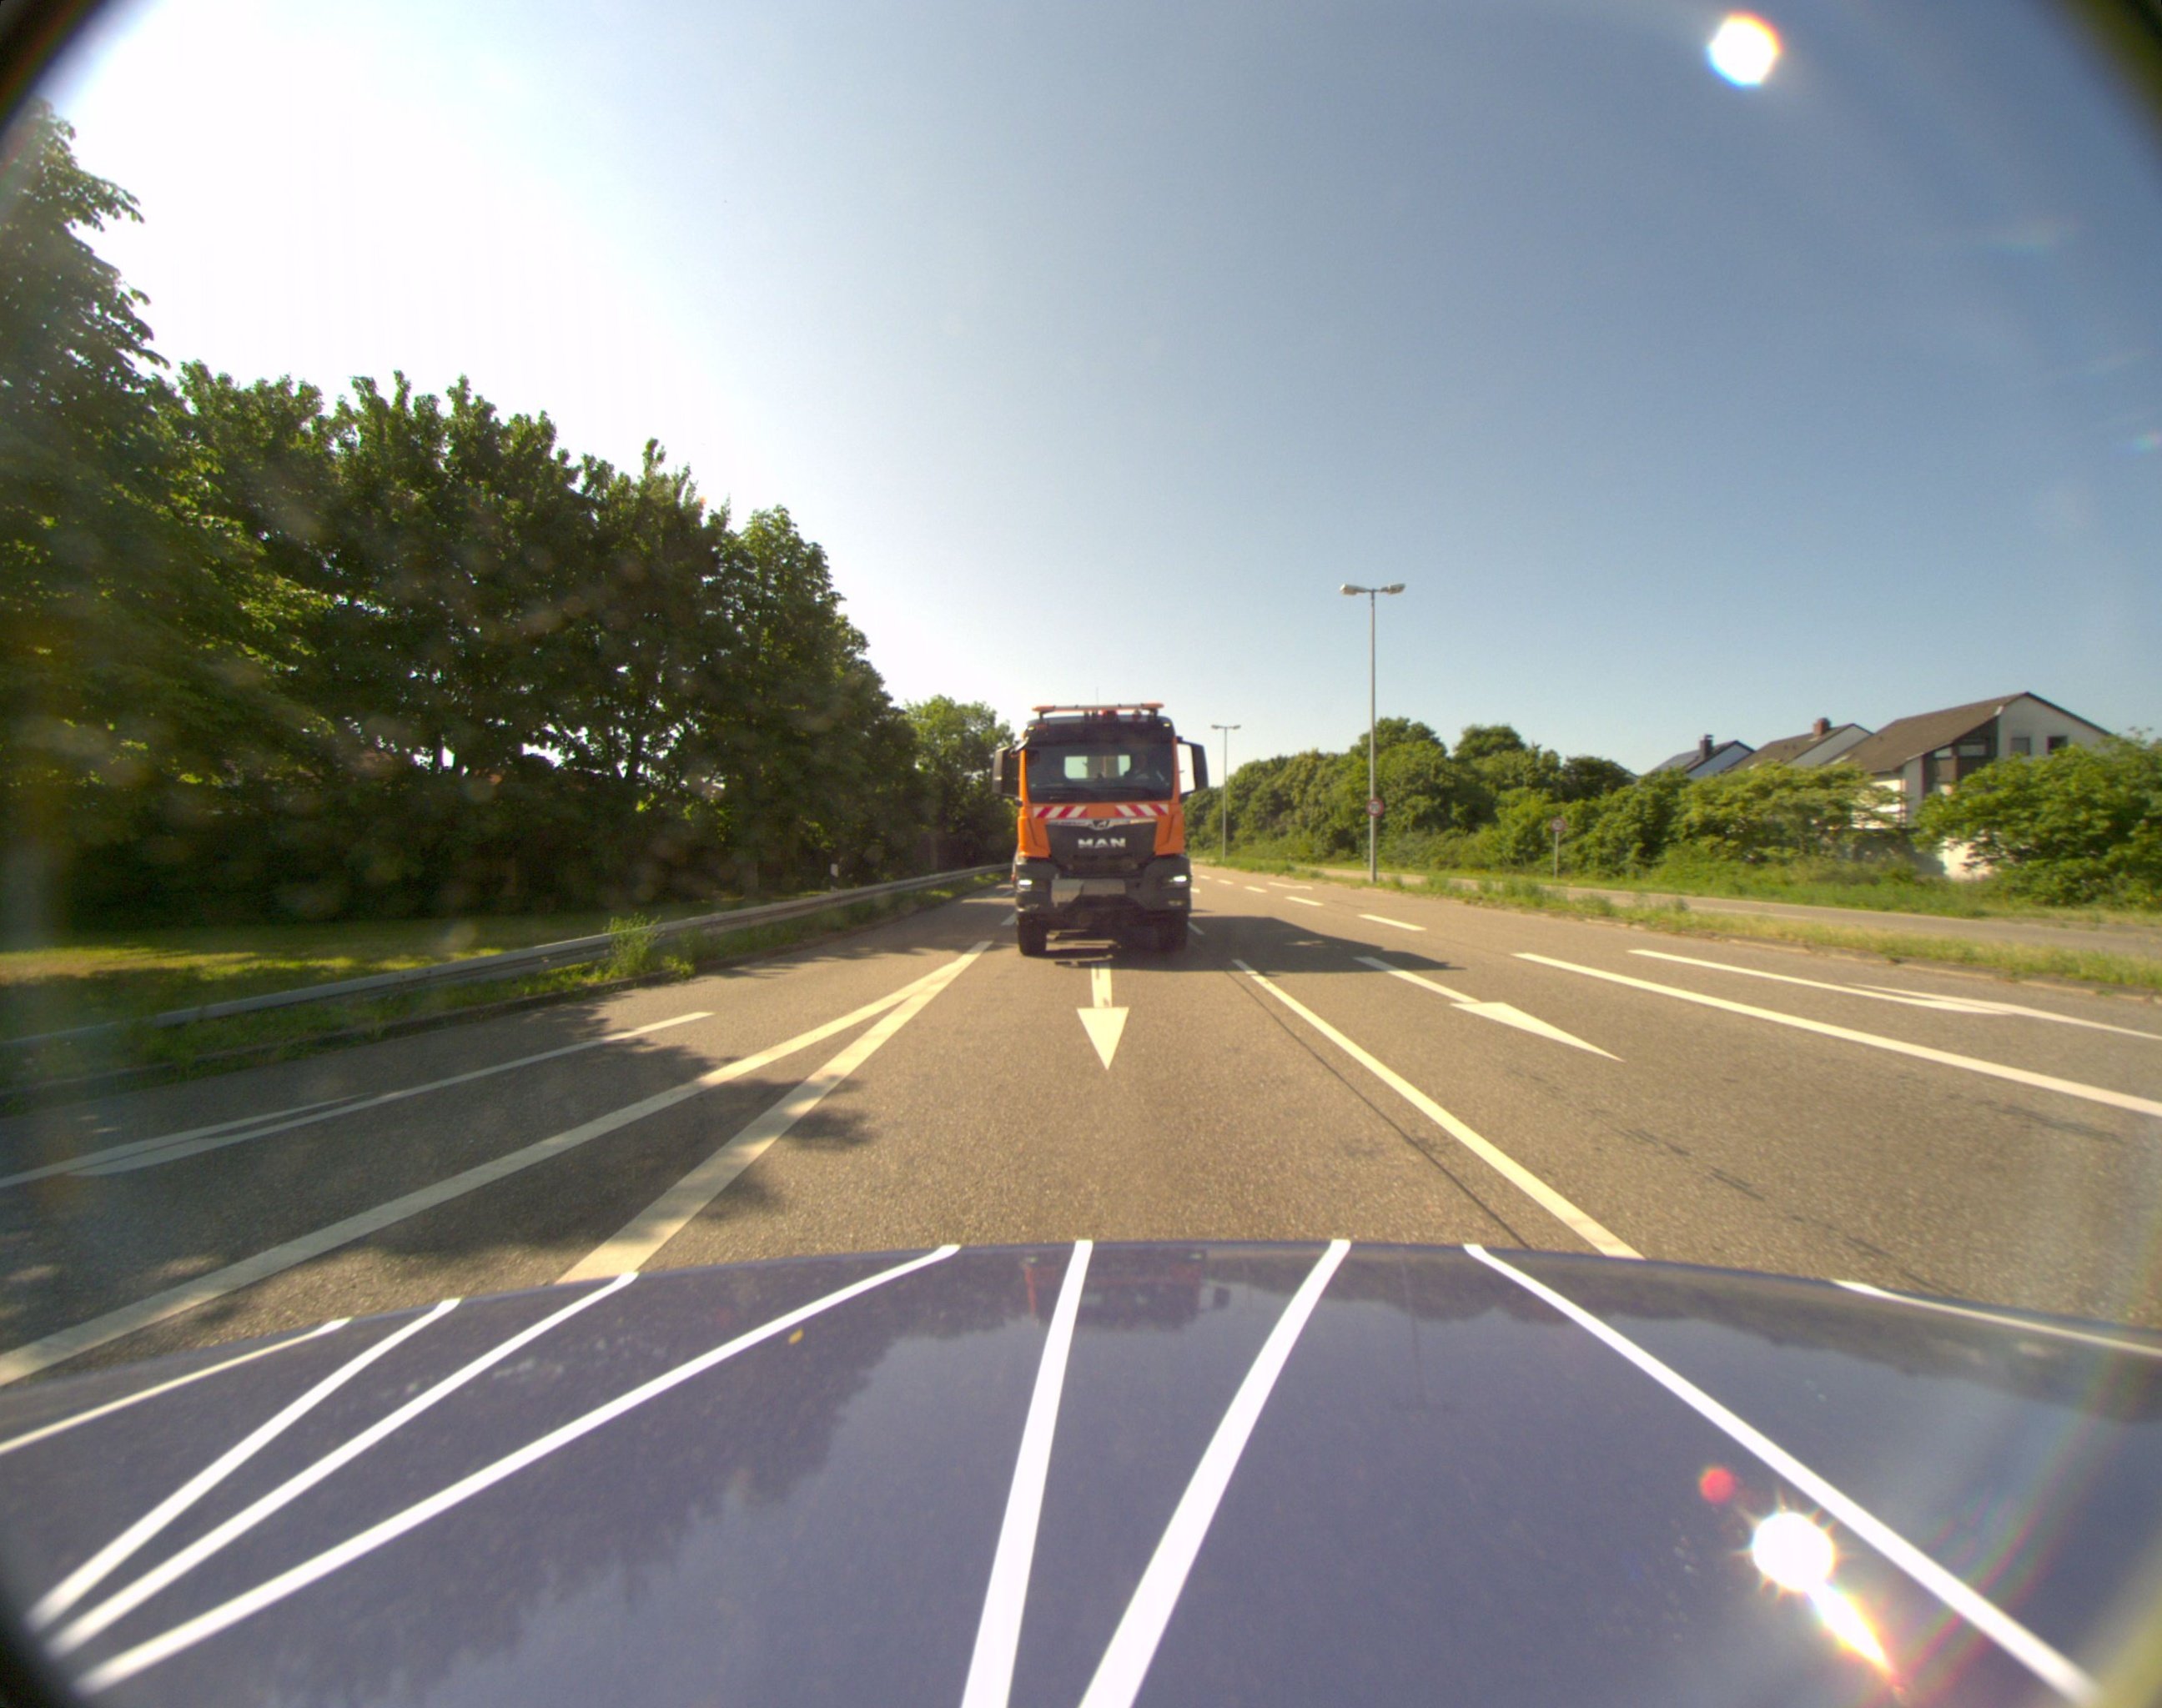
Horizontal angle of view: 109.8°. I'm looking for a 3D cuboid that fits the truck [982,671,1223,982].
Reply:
[{"bbox_3d":[0.379,-0.399,12.999,2.940,3.853,6.590,-2,1,2],"label":"truck"}]
